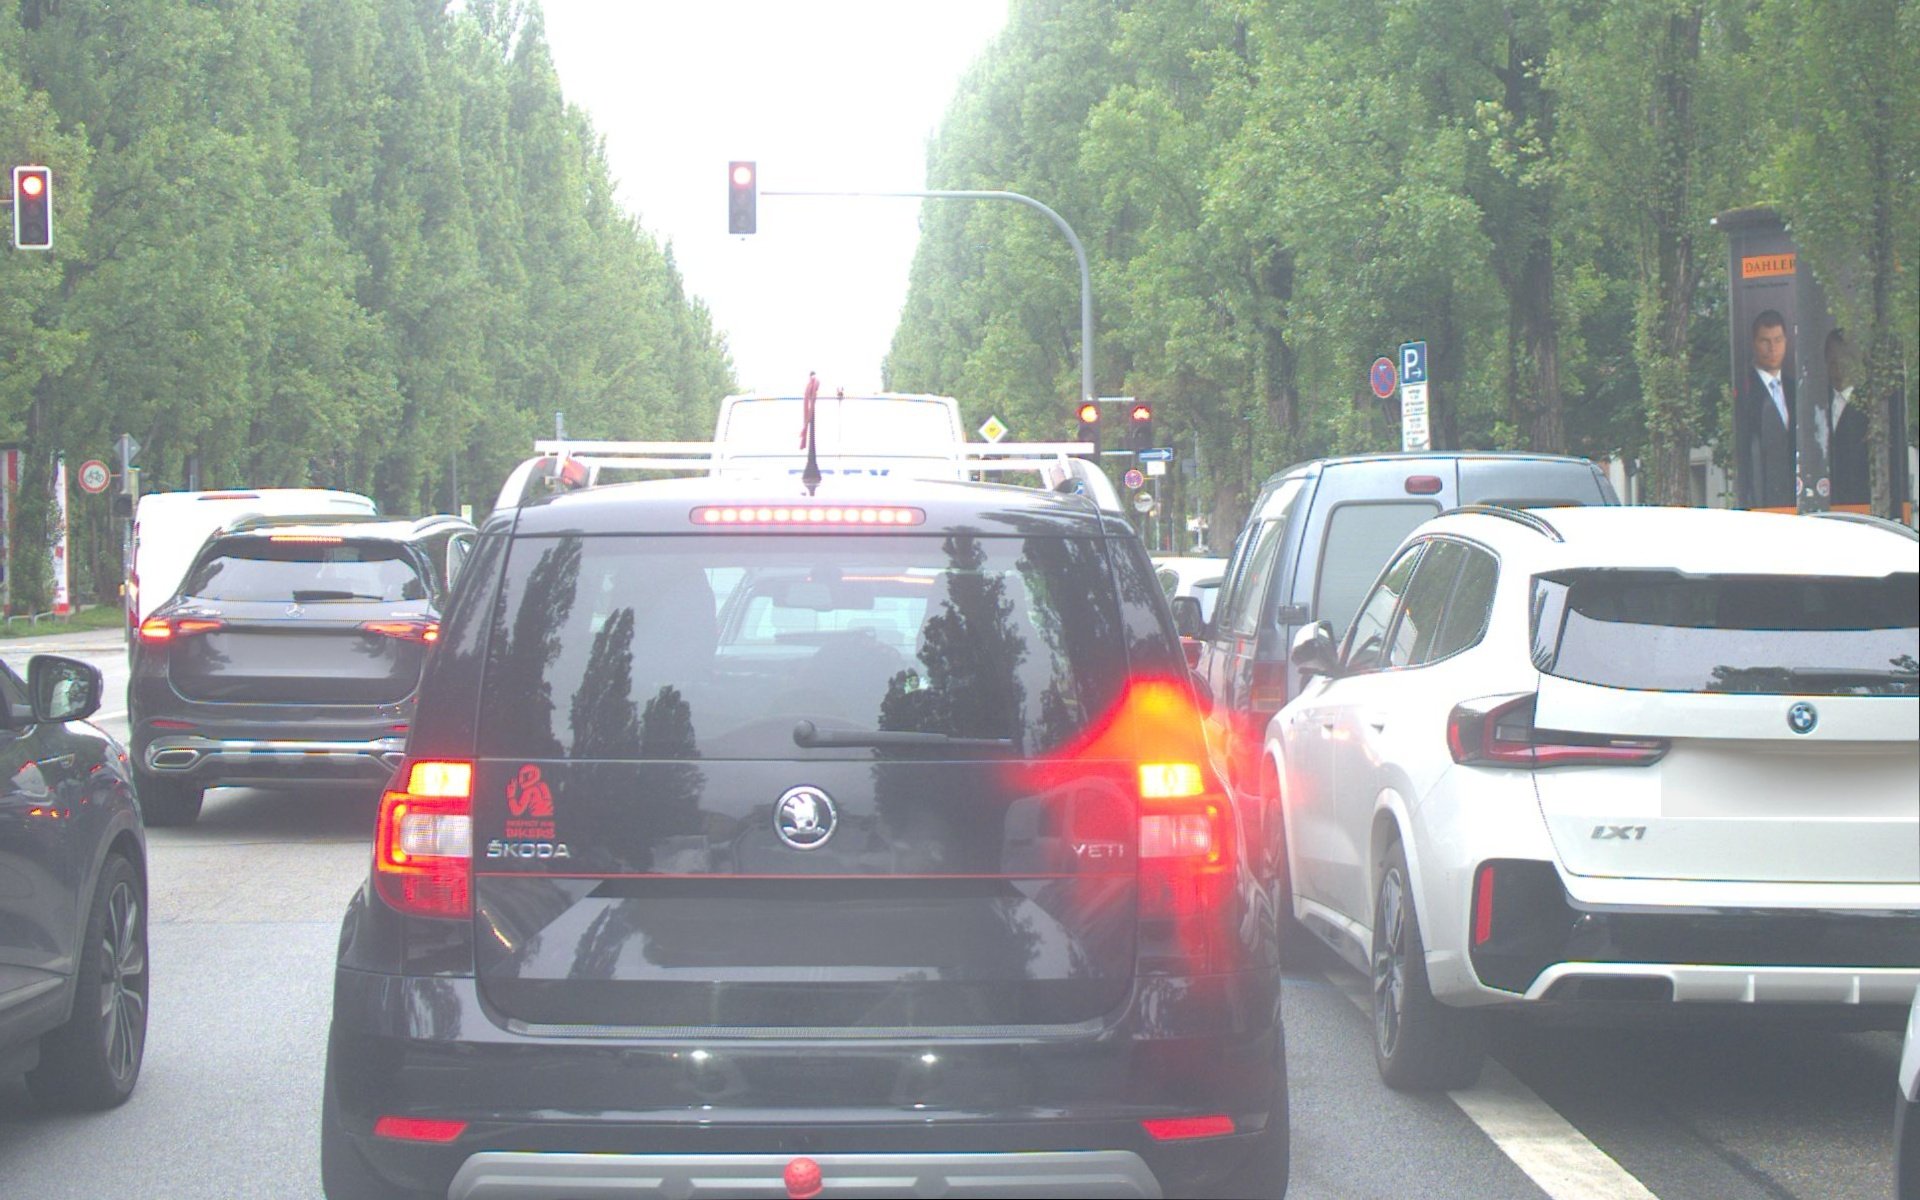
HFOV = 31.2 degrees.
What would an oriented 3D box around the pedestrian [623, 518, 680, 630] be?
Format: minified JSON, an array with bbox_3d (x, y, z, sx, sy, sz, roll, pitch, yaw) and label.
[{"bbox_3d":[-5.604,-0.478,62.541,0.885,2.007,1.013,-1,1,2],"label":"pedestrian"}]

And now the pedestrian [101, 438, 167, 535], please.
[{"bbox_3d":[-15.204,-2.091,63.308,0.880,1.758,0.878,-1,1,8],"label":"pedestrian"}]

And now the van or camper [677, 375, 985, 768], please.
[{"bbox_3d":[-0.951,-0.235,24.508,1.975,2.539,4.025,-1,1,-3],"label":"van or camper"}]

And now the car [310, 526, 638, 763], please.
[{"bbox_3d":[-3.503,0.261,25.471,1.993,1.555,4.001,-1,2,-2],"label":"car"}]

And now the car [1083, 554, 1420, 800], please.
[{"bbox_3d":[1.773,0.427,21.907,1.735,1.382,3.563,-1,1,-2],"label":"car"}]

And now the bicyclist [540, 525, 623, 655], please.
[{"bbox_3d":[-5.080,-0.138,46.154,0.906,1.716,0.824,-1,1,8],"label":"bicyclist"}]

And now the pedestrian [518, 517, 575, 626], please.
[{"bbox_3d":[-7.734,-0.538,64.381,0.885,2.007,1.013,-1,1,2],"label":"pedestrian"}]

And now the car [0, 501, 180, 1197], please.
[{"bbox_3d":[-3.083,0.558,7.510,1.835,1.580,4.186,1,1,-1],"label":"car"}]

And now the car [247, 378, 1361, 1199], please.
[{"bbox_3d":[-0.313,0.489,7.823,1.855,1.764,4.000,1,1,-1],"label":"car"}]

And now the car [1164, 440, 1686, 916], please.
[{"bbox_3d":[1.990,0.267,15.831,1.735,1.888,4.025,-1,1,-2],"label":"car"}]

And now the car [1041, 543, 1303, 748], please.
[{"bbox_3d":[1.612,0.305,27.207,1.735,1.470,3.563,-1,1,-2],"label":"car"}]

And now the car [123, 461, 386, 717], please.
[{"bbox_3d":[-6.237,-0.130,30.794,1.781,2.104,4.025,-1,1,-4],"label":"car"}]

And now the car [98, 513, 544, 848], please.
[{"bbox_3d":[-3.364,0.345,18.808,1.781,1.614,4.025,1,1,-2],"label":"car"}]

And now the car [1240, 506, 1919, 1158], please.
[{"bbox_3d":[1.964,0.517,10.559,1.741,1.587,4.212,-1,1,-1],"label":"car"}]

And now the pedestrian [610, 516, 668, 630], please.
[{"bbox_3d":[-5.736,-0.481,61.448,0.885,2.007,1.013,-1,1,2],"label":"pedestrian"}]

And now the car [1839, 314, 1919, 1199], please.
[{"bbox_3d":[2.432,0.538,3.488,1.851,1.875,4.169,-1,1,-2],"label":"car"}]
